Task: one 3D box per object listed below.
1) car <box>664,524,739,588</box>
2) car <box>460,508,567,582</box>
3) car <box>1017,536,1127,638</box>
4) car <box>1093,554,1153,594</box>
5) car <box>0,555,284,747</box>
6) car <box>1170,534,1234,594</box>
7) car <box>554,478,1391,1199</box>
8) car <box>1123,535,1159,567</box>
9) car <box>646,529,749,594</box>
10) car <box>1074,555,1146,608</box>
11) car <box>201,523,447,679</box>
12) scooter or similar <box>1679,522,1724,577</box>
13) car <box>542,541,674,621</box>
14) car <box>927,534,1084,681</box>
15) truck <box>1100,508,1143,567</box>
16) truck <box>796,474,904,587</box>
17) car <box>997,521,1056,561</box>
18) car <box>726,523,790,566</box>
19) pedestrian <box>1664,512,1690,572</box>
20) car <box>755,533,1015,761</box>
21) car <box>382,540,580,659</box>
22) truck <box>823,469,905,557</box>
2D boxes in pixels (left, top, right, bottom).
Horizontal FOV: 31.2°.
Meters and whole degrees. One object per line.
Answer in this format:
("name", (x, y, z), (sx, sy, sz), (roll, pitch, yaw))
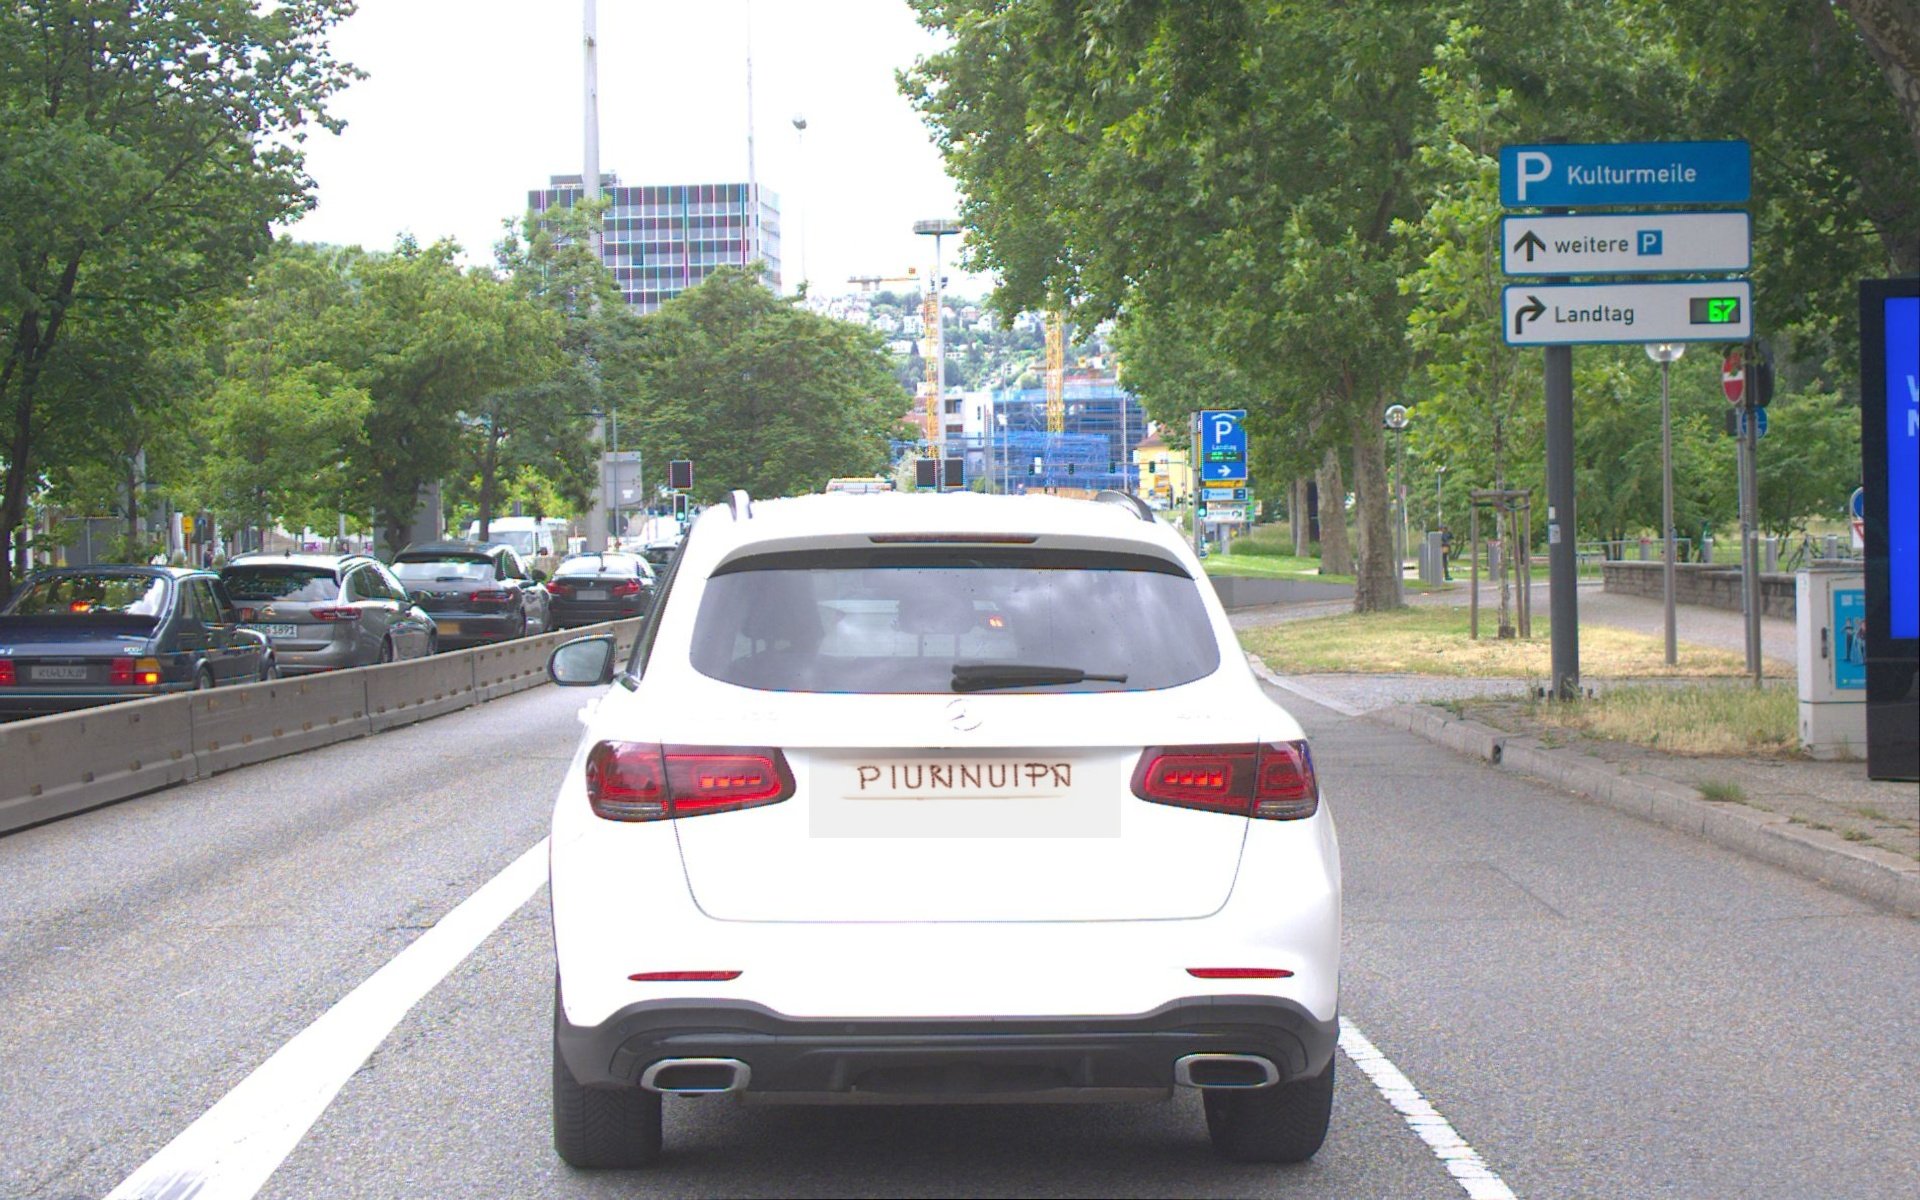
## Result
("car", (-6.259, -1.057, 83.432), (1.659, 1.508, 3.548), (0, 0, -2))
("car", (-12.253, -1.516, 94.661), (2.115, 1.962, 5.578), (-1, 1, 1))
("car", (1.958, -0.262, 60.998), (1.825, 1.746, 4.000), (0, 1, 0))
("car", (5.483, -0.875, 116.247), (1.947, 1.315, 4.016), (0, 1, 2))
("car", (-6.690, 0.346, 27.405), (1.678, 1.362, 4.543), (0, 1, 0))
("car", (8.223, -1.239, 117.189), (1.993, 2.007, 4.000), (0, 1, 2))
("car", (-0.175, 0.514, 9.532), (1.787, 1.619, 4.438), (0, 1, -6))
("car", (9.597, -2.631, 182.794), (1.758, 1.663, 4.168), (0, 1, 1))
("car", (-5.489, -0.805, 72.227), (1.659, 1.315, 3.547), (0, 1, 4))
("car", (4.177, -0.538, 95.941), (1.947, 1.423, 4.016), (0, 1, 2))
("car", (-6.181, -0.006, 33.784), (1.661, 1.431, 3.960), (0, 0, 0))
("scooter or similar", (16.995, -1.149, 78.865), (0.636, 1.241, 2.225), (2, 0, 3))
("car", (-5.943, -0.338, 58.438), (1.659, 1.315, 3.547), (0, 1, 4))
("car", (0.489, 0.058, 40.226), (1.659, 1.633, 3.548), (0, 1, -2))
("truck", (11.444, -4.423, 244.280), (2.877, 4.089, 6.638), (1, 1, 1))
("truck", (-2.861, -1.837, 91.339), (2.621, 2.851, 7.079), (1, 1, 0))
("car", (2.251, -1.976, 115.841), (1.947, 1.315, 4.016), (0, 1, 2))
("car", (-6.214, -1.706, 106.038), (1.659, 1.315, 3.547), (0, 1, 2))
("pedestrian", (19.415, -1.572, 93.128), (0.639, 1.605, 0.663), (0, 1, 9))
("car", (-0.640, 0.309, 26.116), (1.795, 1.603, 3.755), (0, 1, -4))
("car", (-6.062, -0.040, 43.918), (1.776, 1.415, 4.000), (0, 1, 3))
("truck", (-3.406, -3.082, 123.026), (2.692, 2.981, 5.638), (2, 0, 0))
